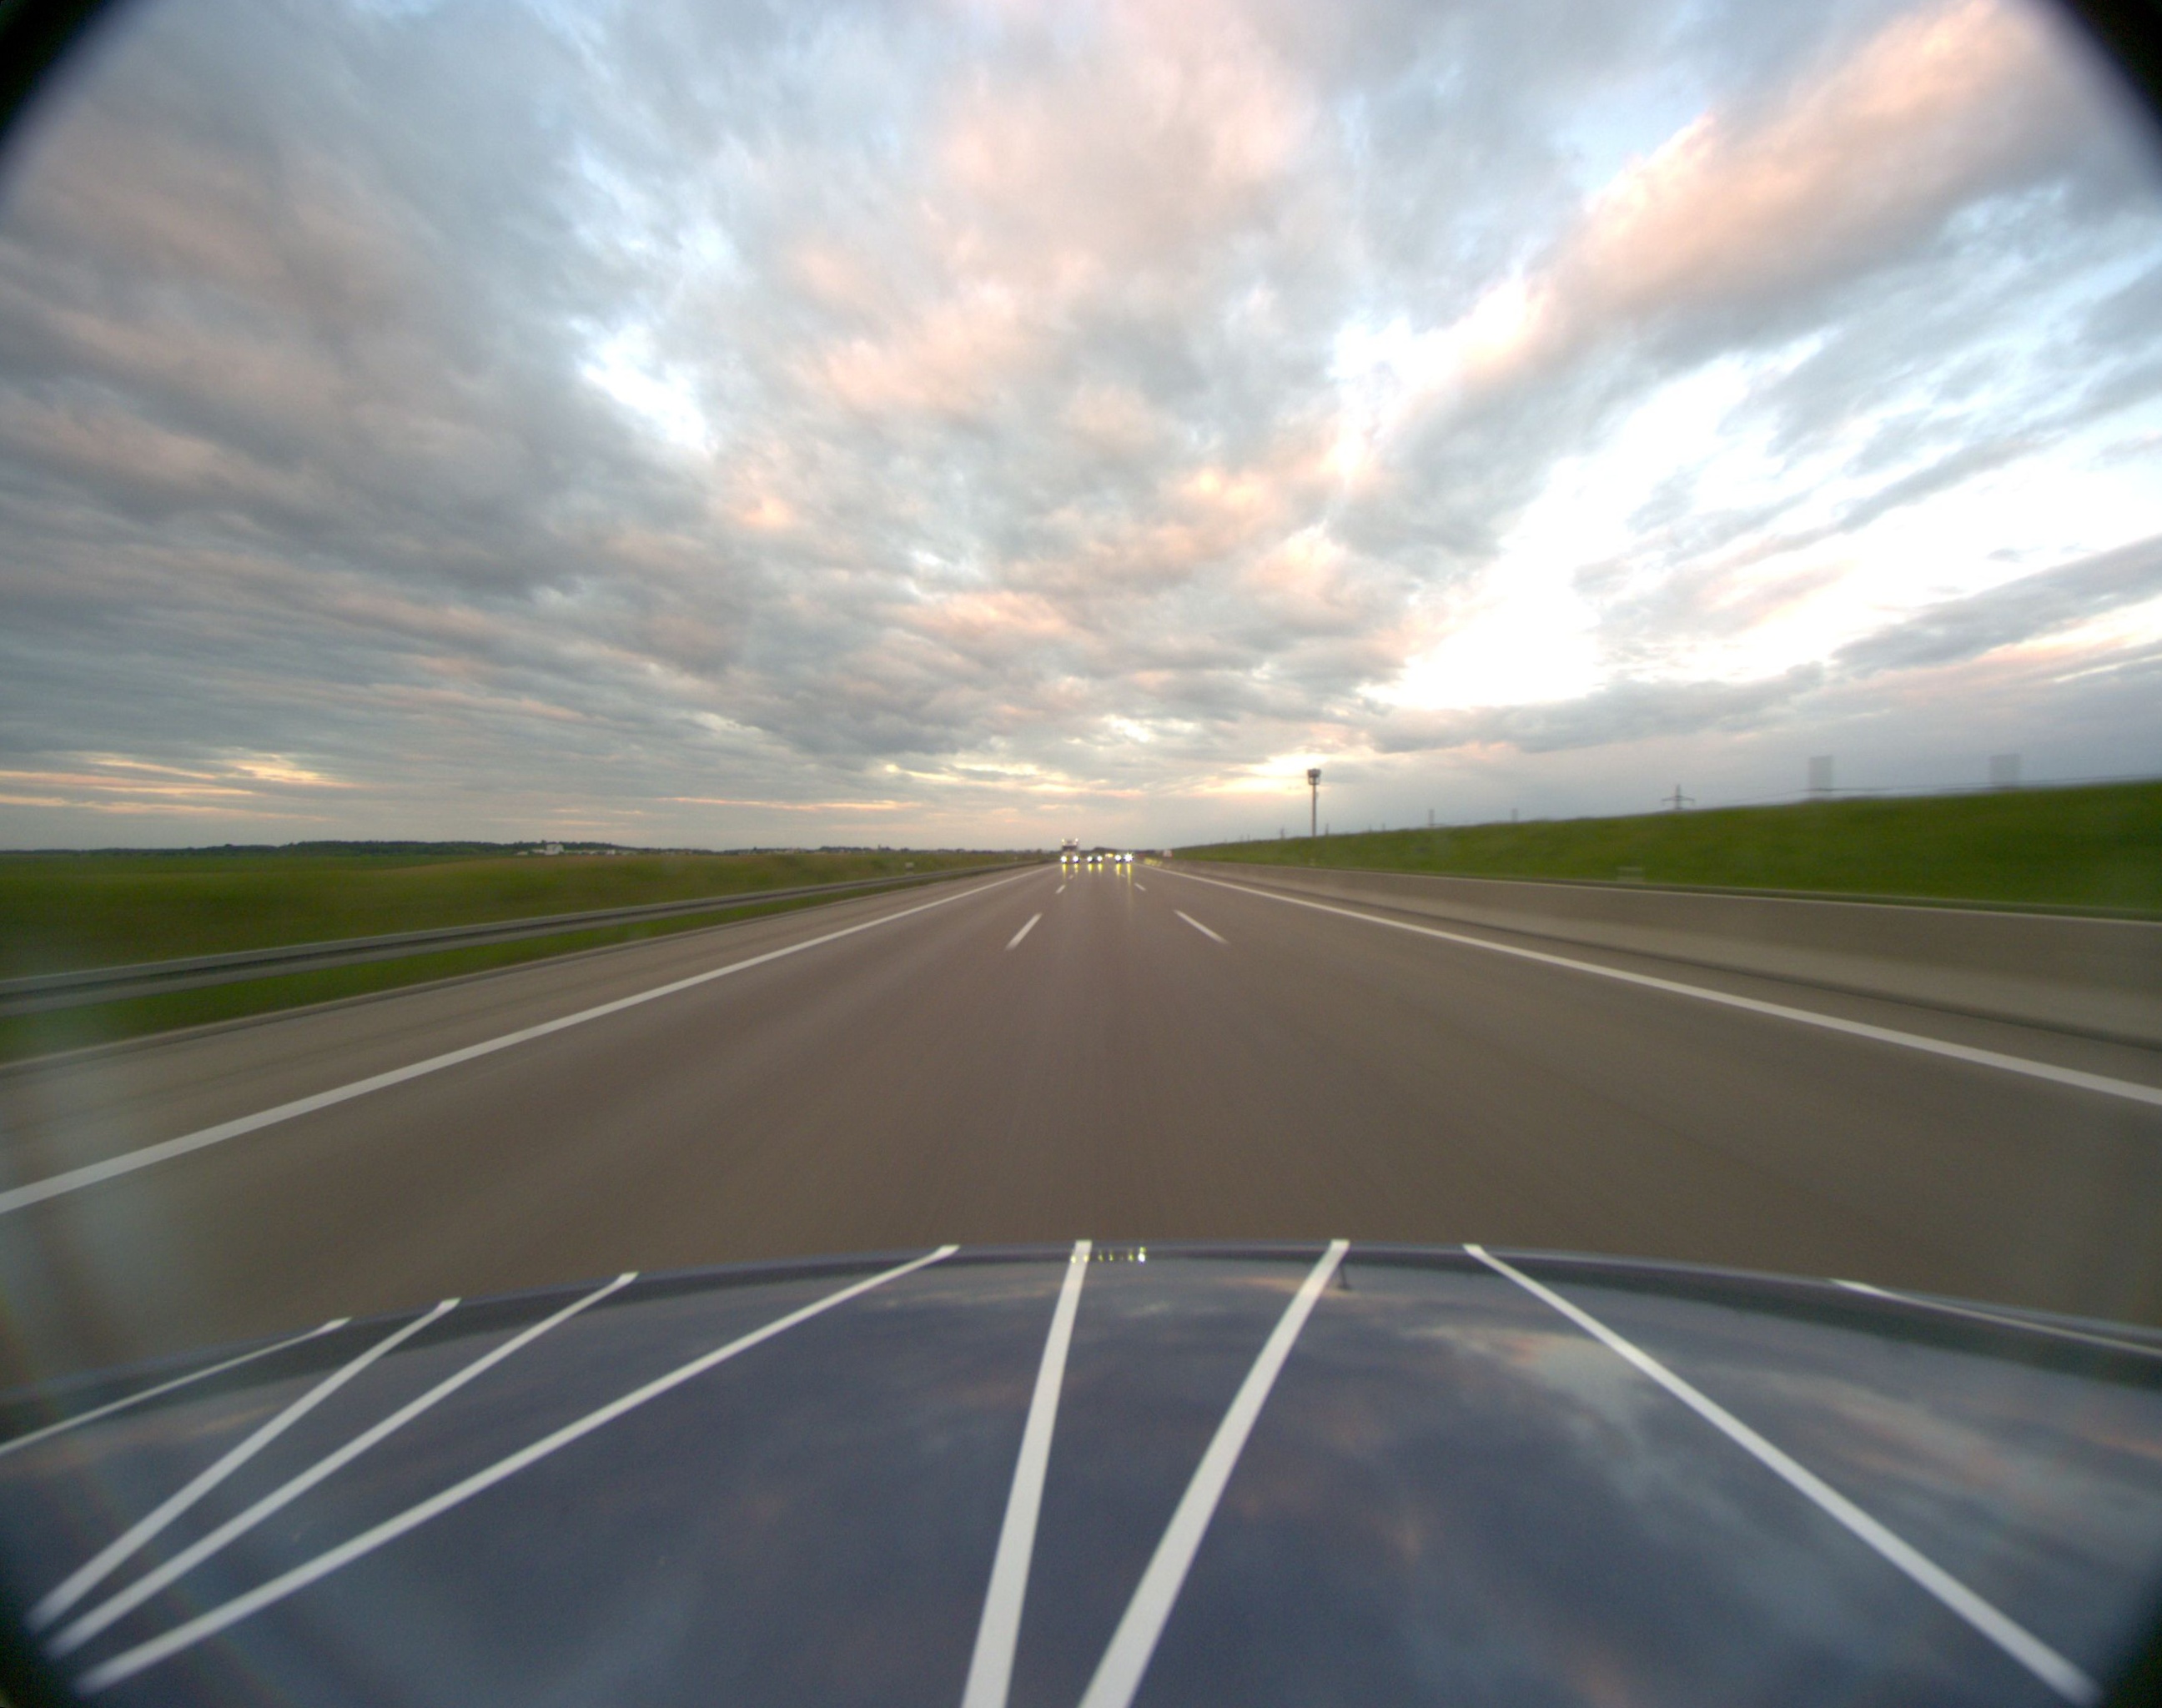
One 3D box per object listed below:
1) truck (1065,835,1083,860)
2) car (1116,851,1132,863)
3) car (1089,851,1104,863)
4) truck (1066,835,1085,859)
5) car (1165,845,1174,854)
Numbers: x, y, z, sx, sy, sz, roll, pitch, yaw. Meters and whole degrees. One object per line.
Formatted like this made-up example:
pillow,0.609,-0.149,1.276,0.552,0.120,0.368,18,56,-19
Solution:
truck,-1.090,-1.063,128.211,2.596,3.999,5.860,-1,0,3
car,6.303,0.446,111.813,1.998,1.652,4.000,-2,0,1
car,2.372,0.469,113.804,1.998,1.652,4.852,-2,0,4
truck,-0.813,-1.116,134.144,2.596,3.999,12.987,-1,0,3
car,25.983,-1.347,222.361,1.998,2.531,7.378,0,0,2
